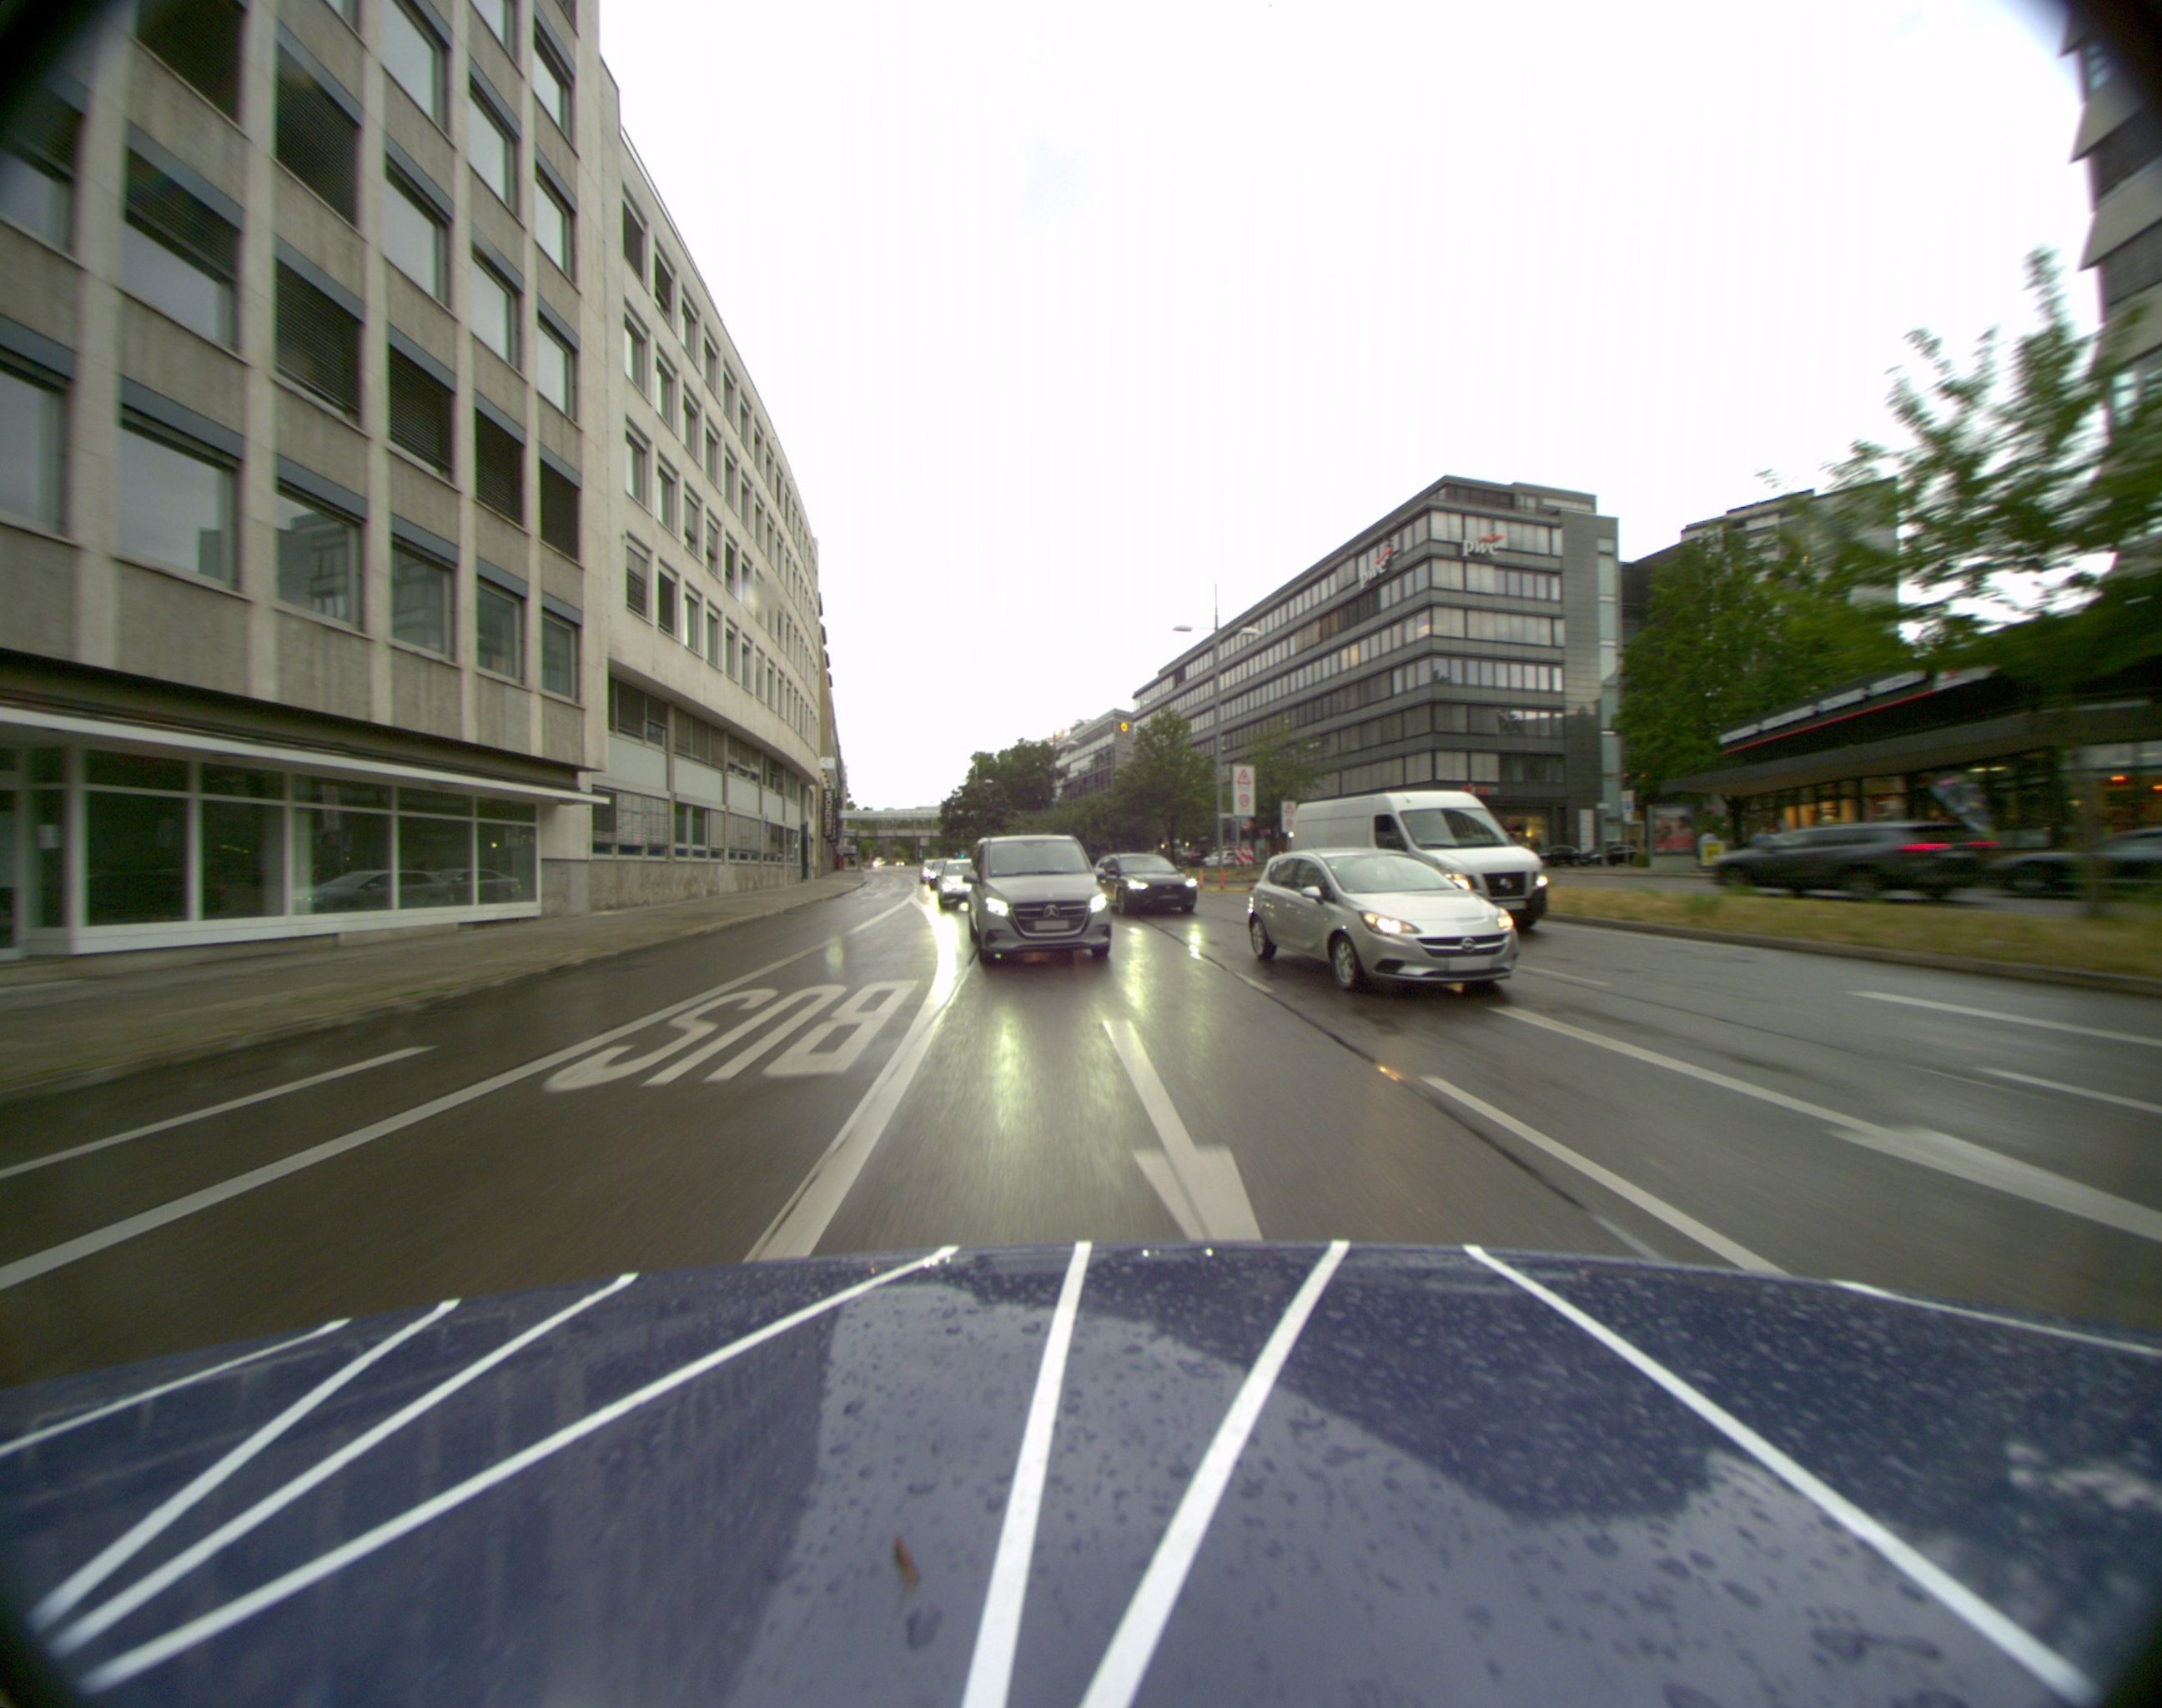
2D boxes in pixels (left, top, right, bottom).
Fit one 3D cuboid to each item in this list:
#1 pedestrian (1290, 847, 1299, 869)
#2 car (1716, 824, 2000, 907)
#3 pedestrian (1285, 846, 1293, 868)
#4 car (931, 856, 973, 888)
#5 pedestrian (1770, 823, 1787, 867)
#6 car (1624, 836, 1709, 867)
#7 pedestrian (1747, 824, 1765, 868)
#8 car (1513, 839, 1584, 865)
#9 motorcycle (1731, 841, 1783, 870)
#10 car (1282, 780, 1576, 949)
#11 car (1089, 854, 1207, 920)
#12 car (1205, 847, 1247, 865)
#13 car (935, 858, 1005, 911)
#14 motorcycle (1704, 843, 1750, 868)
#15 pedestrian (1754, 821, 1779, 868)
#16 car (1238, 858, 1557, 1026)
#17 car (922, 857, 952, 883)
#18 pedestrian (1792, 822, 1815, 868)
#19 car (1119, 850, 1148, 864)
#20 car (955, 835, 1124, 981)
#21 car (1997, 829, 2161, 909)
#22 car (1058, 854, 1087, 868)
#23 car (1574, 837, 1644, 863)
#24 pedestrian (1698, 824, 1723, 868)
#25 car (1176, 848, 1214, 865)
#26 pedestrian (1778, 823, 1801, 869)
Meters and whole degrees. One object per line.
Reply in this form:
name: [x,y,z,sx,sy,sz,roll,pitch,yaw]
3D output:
pedestrian: [19.943,0.380,70.995,0.575,2.002,0.461,-2,1,-17]
car: [16.640,0.211,16.626,1.649,1.527,4.149,-2,0,-9]
pedestrian: [19.024,0.301,69.564,0.541,2.002,0.296,-2,1,-17]
car: [-6.788,0.885,40.056,2.000,1.456,4.400,-3,1,-9]
pedestrian: [28.068,-0.367,30.565,0.328,1.761,0.358,-2,1,8]
car: [32.755,-0.136,42.546,3.765,1.575,1.847,-2,0,-15]
pedestrian: [27.087,-0.323,30.491,0.328,1.761,0.438,-2,1,6]
car: [30.795,-0.119,50.103,3.765,1.575,1.847,-2,0,-15]
motorcycle: [29.503,0.064,33.184,1.665,1.226,0.361,-2,1,39]
car: [5.915,0.146,13.940,1.953,2.426,5.474,-3,0,-12]
car: [1.567,0.757,19.351,1.778,1.427,4.090,-3,0,-12]
car: [12.575,0.186,66.118,2.001,1.498,3.994,-2,0,-16]
car: [-3.613,0.909,24.180,1.931,1.471,3.996,-1,0,-12]
motorcycle: [30.688,0.056,36.127,1.621,1.138,0.360,-2,1,30]
pedestrian: [26.585,-0.368,29.482,0.556,1.761,0.405,-2,1,8]
car: [3.303,0.799,8.835,1.653,1.427,3.872,-3,0,-8]
car: [-9.259,0.960,48.656,1.724,1.456,4.032,-3,1,-12]
pedestrian: [28.114,-0.352,29.560,0.428,1.761,0.470,-2,1,8]
car: [6.059,0.311,88.220,2.001,1.498,3.994,-2,0,-16]
car: [-0.932,0.714,12.590,1.918,1.844,5.021,-3,0,-13]
car: [20.172,0.253,13.710,1.868,1.371,4.409,-3,1,-3]
car: [-0.904,0.772,79.295,1.753,1.365,3.993,-2,0,-20]
car: [35.708,-0.262,51.407,3.765,1.575,1.847,-2,0,-15]
pedestrian: [25.366,-0.325,30.607,0.536,1.761,0.550,-2,1,8]
car: [10.768,0.260,72.328,2.001,1.498,4.102,-2,0,-16]
pedestrian: [27.547,-0.328,29.542,0.428,1.761,0.470,-2,1,8]
